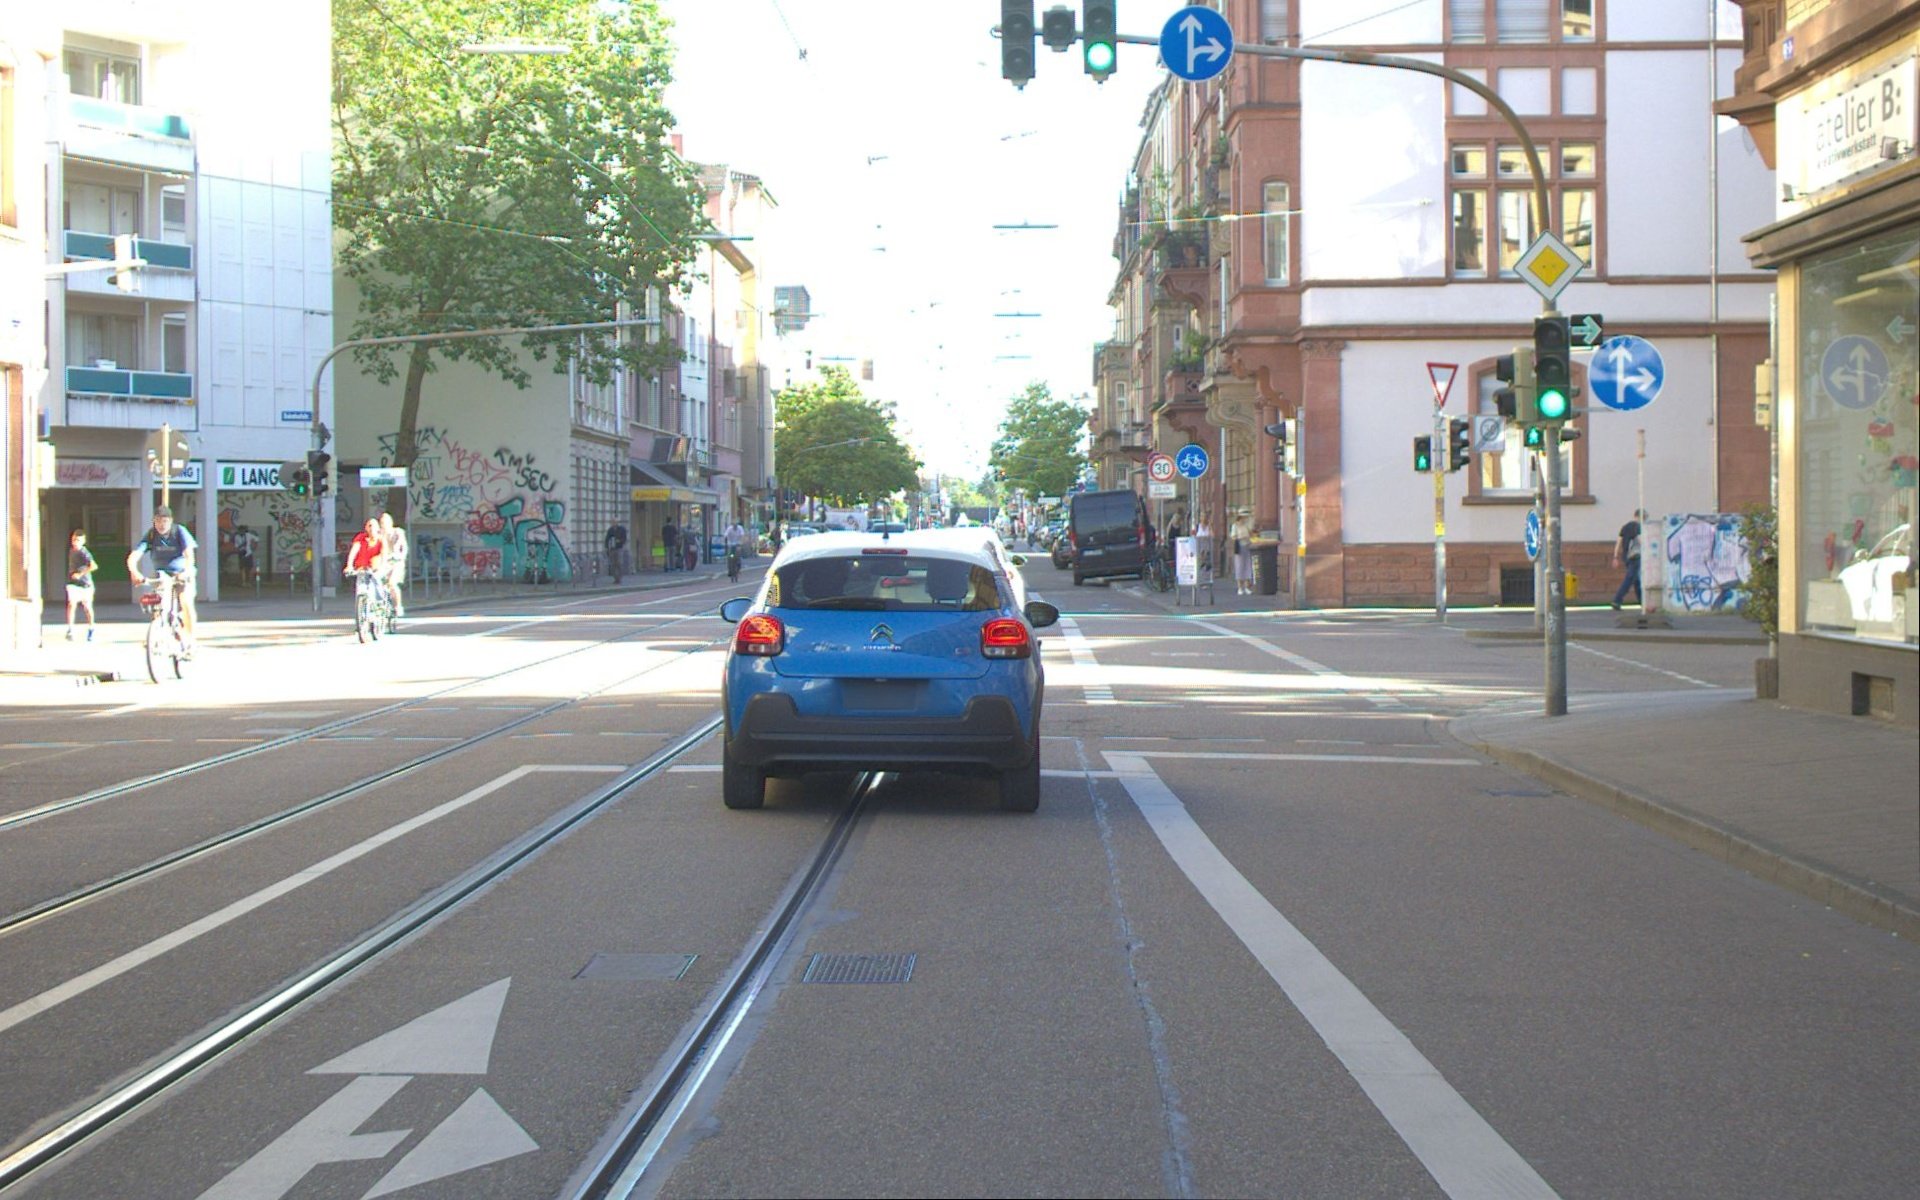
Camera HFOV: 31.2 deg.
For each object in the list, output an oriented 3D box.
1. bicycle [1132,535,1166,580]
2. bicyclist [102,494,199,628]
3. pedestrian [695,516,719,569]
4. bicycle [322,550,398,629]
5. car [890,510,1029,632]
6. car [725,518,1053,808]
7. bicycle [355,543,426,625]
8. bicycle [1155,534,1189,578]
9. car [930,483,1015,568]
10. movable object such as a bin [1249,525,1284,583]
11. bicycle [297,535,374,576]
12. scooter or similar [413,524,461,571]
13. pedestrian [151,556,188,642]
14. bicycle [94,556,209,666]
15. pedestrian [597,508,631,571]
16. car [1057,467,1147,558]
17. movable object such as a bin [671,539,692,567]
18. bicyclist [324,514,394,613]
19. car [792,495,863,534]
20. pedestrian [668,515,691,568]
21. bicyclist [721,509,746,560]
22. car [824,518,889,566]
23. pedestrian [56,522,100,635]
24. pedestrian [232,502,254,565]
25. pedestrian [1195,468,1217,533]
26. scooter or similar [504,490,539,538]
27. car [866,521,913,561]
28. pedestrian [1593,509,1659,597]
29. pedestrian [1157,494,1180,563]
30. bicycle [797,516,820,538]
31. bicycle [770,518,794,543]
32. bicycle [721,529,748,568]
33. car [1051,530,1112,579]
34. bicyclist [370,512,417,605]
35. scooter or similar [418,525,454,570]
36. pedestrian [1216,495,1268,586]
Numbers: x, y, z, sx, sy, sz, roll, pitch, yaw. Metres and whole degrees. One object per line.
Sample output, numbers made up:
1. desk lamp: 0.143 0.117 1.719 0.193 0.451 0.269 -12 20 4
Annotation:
1. bicycle: 4.089 -0.932 74.577 0.431 0.944 1.764 0 1 -7
2. bicyclist: -8.428 -0.414 35.829 0.724 1.376 1.228 0 1 -1
3. pedestrian: -8.450 -1.939 114.945 0.710 1.758 0.655 -1 1 1
4. bicycle: -8.435 -0.163 48.375 0.730 1.062 2.062 0 1 -1
5. car: -0.026 -0.403 43.964 1.667 1.473 4.000 -1 1 -1
6. car: -0.422 0.276 19.644 1.674 1.472 4.001 0 1 -2
7. bicycle: -8.480 -0.250 51.242 0.730 1.179 2.062 0 1 -1
8. bicycle: 4.604 -0.963 74.608 0.431 0.944 1.764 0 1 -7
9. car: 0.285 -1.844 84.532 1.993 2.007 4.000 -1 1 -1
10. movable object such as a bin: 6.136 -0.919 68.811 0.666 1.149 0.594 0 1 2
11. bicycle: -15.895 -1.131 87.531 1.919 1.031 0.664 0 2 27
12. scooter or similar: -14.242 -1.425 93.608 1.227 1.253 0.768 -1 1 -11
13. pedestrian: -14.388 -0.026 62.559 0.542 1.547 0.516 0 1 -1
14. bicycle: -8.419 0.094 35.883 0.730 1.084 2.062 0 1 -1
15. pedestrian: -9.784 -1.714 97.335 0.682 1.759 1.025 0 1 11
16. car: 3.873 -2.403 94.916 2.271 2.428 5.720 0 1 0
17. movable object such as a bin: -9.369 -1.589 115.634 0.610 0.911 0.695 -1 1 0
18. bicyclist: -8.443 -0.521 48.364 0.735 1.376 1.469 0 1 -1
19. car: -9.075 -5.859 235.399 4.307 2.572 2.210 -1 2 -25
20. pedestrian: -9.366 -1.946 114.857 0.710 1.758 0.570 -1 1 -1
21. bicyclist: -6.728 -1.951 102.250 0.682 1.478 0.778 -1 1 0
22. car: -3.347 -1.903 111.415 1.985 1.497 4.309 -1 1 0
23. pedestrian: -11.024 -0.272 42.984 0.404 1.405 0.516 0 1 -1
24. pedestrian: -19.493 -1.813 93.463 0.456 1.712 0.547 -1 1 0
25. pedestrian: 6.729 -2.711 94.033 0.553 1.776 0.606 0 1 -1
26. scooter or similar: -12.115 -2.381 94.999 0.788 1.267 1.075 2 3 -1
27. car: -3.067 -2.596 150.785 1.993 1.738 4.563 0 1 -1
28. pedestrian: 11.047 -0.780 57.005 0.939 1.452 0.822 0 1 22
29. pedestrian: 6.059 -2.078 99.887 0.585 2.007 0.823 0 1 -1
30. bicycle: -8.252 -3.981 187.032 1.120 1.142 3.645 -1 1 -5
31. bicycle: -9.669 -3.776 186.804 1.120 1.315 3.645 -1 1 -5
32. bicycle: -6.710 -1.545 102.269 0.692 1.116 2.084 0 2 0
33. car: 4.318 -1.623 122.412 2.005 1.666 4.806 -1 1 0
34. bicyclist: -8.424 -0.623 51.127 0.590 1.371 0.679 0 1 -1
35. scooter or similar: -14.560 -1.456 95.458 0.937 1.218 0.768 -1 1 -11
36. pedestrian: 5.797 -1.225 70.691 0.705 1.776 0.673 -10 1 0
